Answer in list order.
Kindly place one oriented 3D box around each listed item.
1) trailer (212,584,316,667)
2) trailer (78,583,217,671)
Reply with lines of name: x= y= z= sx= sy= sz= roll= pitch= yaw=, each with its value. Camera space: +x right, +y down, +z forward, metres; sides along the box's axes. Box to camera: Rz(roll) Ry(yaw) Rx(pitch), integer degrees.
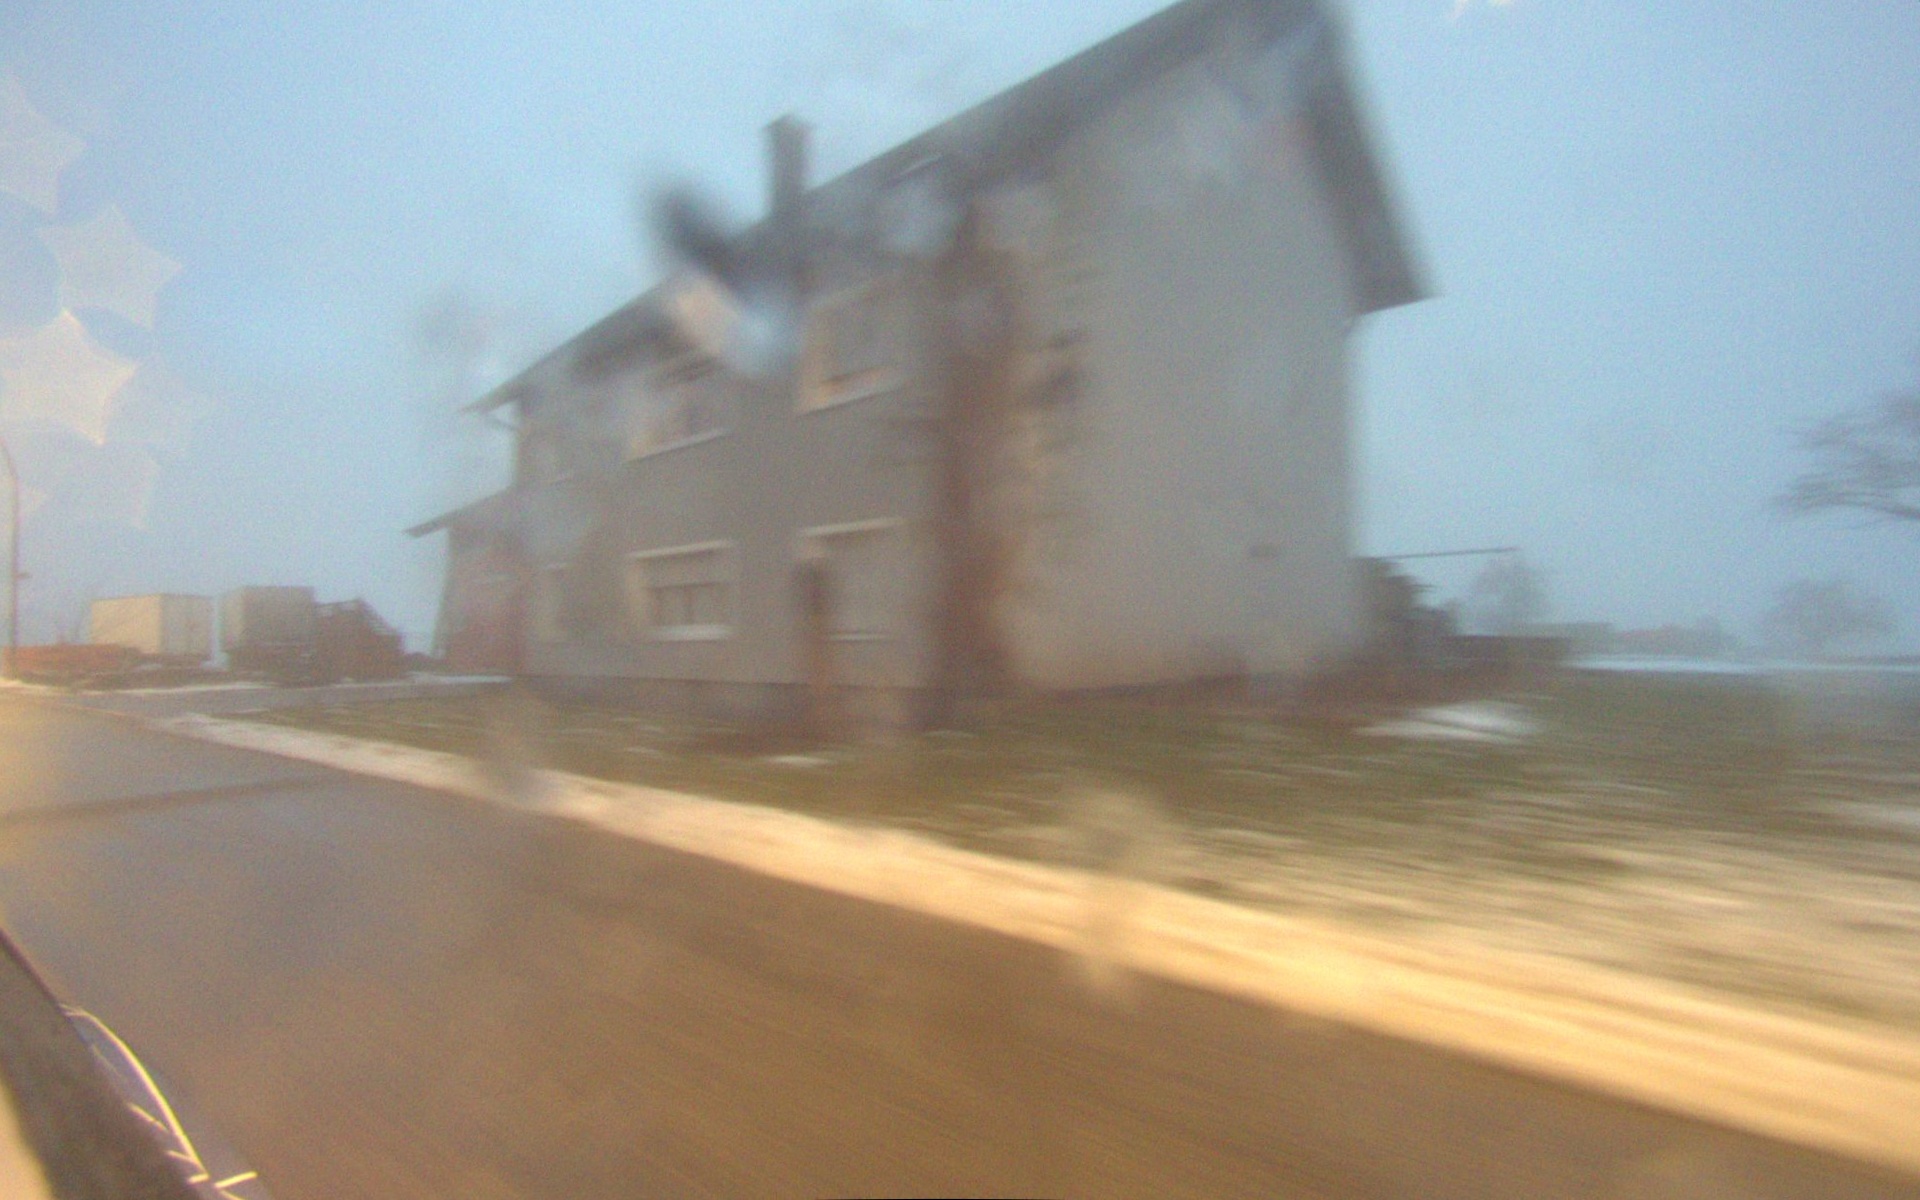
trailer: x=-22.693 y=0.914 z=32.960 sx=4.011 sy=2.508 sz=1.971 roll=-4 pitch=-6 yaw=45
trailer: x=-25.557 y=0.897 z=31.857 sx=3.415 sy=2.625 sz=1.685 roll=-1 pitch=-5 yaw=17
